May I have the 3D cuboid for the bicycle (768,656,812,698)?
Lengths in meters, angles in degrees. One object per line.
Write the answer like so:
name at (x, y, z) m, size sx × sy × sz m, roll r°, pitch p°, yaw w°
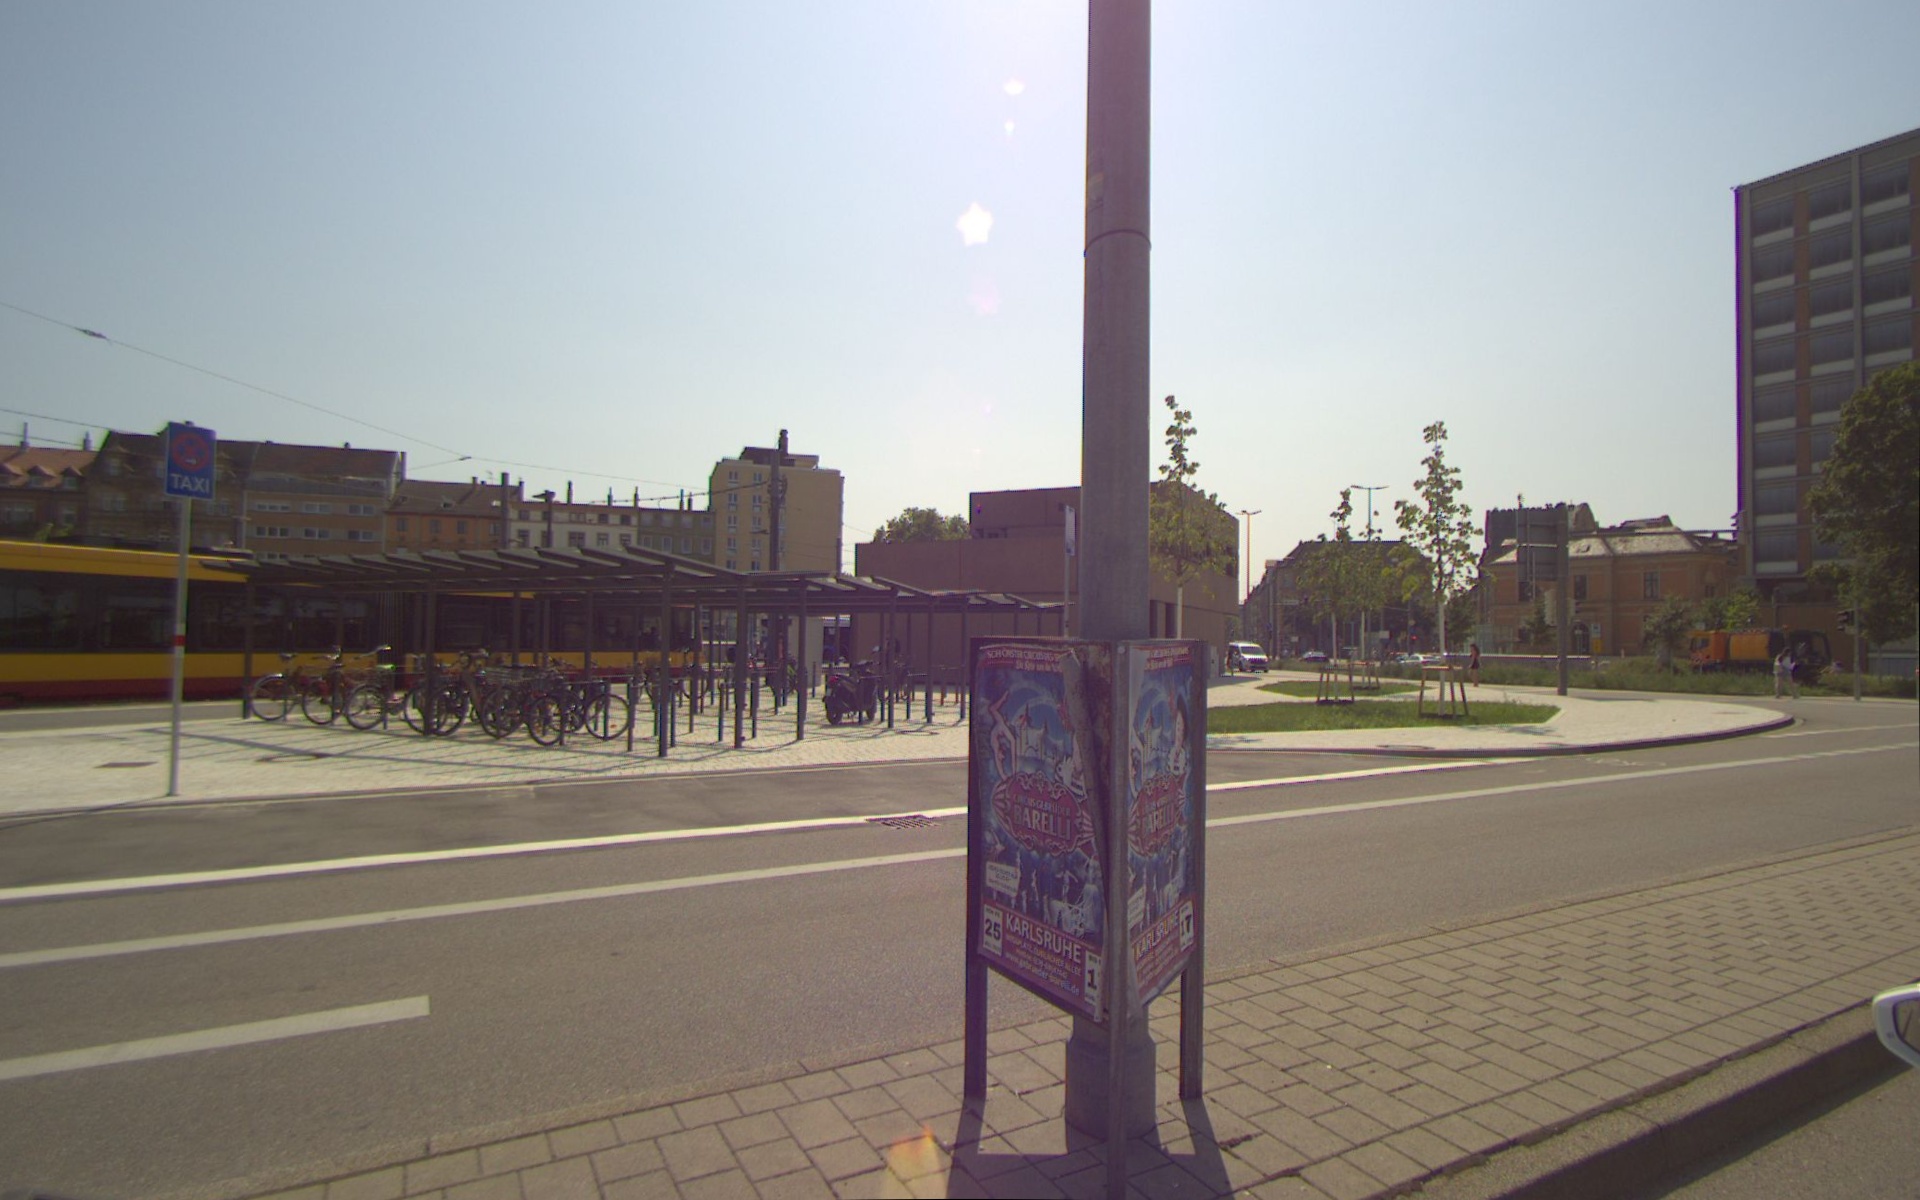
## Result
bicycle at (-4.481, 2.002, 26.517) m, size 0.503 × 1.053 × 1.736 m, roll 0°, pitch -3°, yaw 13°

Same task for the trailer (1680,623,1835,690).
trailer at (40.082, 2.808, 50.761) m, size 2.424 × 3.047 × 6.321 m, roll 3°, pitch -3°, yaw -5°

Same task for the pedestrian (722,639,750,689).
pedestrian at (-6.526, 1.868, 29.256) m, size 0.660 × 1.429 × 0.440 m, roll 2°, pitch -2°, yaw -31°

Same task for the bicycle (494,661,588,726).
bicycle at (-7.362, 1.621, 17.708) m, size 0.405 × 1.053 × 1.639 m, roll -1°, pitch -3°, yaw 28°

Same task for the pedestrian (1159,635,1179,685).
pedestrian at (7.175, 2.048, 34.490) m, size 0.558 × 1.700 × 0.536 m, roll 0°, pitch -2°, yaw 25°

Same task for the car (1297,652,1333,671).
car at (29.320, 5.093, 83.139) m, size 1.728 × 1.422 × 3.983 m, roll 2°, pitch -3°, yaw 3°

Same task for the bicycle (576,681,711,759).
bicycle at (-4.120, 1.549, 13.243) m, size 0.482 × 0.895 × 1.896 m, roll -1°, pitch -3°, yaw 28°

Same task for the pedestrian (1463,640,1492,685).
pedestrian at (20.116, 2.427, 39.040) m, size 0.617 × 1.725 × 0.786 m, roll 1°, pitch -2°, yaw -12°

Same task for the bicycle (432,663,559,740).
bicycle at (-6.945, 1.494, 15.106) m, size 0.517 × 1.053 × 1.768 m, roll -1°, pitch -3°, yaw 28°

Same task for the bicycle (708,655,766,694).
bicycle at (-6.000, 1.996, 27.093) m, size 0.503 × 0.998 × 1.856 m, roll -1°, pitch -3°, yaw 24°

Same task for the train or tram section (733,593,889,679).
train or tram section at (-6.660, 1.661, 46.511) m, size 3.086 × 3.616 × 8.238 m, roll -2°, pitch -2°, yaw 25°

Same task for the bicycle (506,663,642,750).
bicycle at (-5.297, 1.431, 13.894) m, size 0.517 × 1.096 × 1.863 m, roll -1°, pitch -3°, yaw 28°

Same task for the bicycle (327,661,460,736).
bicycle at (-8.621, 1.467, 15.364) m, size 0.517 × 1.053 × 1.768 m, roll -1°, pitch -3°, yaw 28°

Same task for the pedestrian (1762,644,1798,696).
pedestrian at (27.374, 2.345, 33.532) m, size 0.688 × 1.717 × 0.606 m, roll 1°, pitch -2°, yaw -12°

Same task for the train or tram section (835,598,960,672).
train or tram section at (-3.179, 1.890, 53.947) m, size 3.086 × 3.616 × 8.238 m, roll -2°, pitch -2°, yaw 25°

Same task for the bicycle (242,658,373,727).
bicycle at (-10.737, 1.496, 16.598) m, size 0.517 × 1.053 × 1.768 m, roll -1°, pitch -3°, yaw 28°

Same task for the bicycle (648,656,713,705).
bicycle at (-6.379, 1.823, 22.977) m, size 0.405 × 1.053 × 1.639 m, roll -1°, pitch -3°, yaw 28°

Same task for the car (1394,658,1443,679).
car at (35.298, 5.261, 77.379) m, size 1.729 × 1.474 × 4.427 m, roll 2°, pitch -3°, yaw 0°

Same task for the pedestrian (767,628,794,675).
pedestrian at (-5.640, 1.612, 31.555) m, size 0.436 × 1.429 × 0.744 m, roll -1°, pitch -2°, yaw 29°

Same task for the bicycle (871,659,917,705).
bicycle at (-1.594, 1.995, 24.657) m, size 0.503 × 1.053 × 1.735 m, roll -1°, pitch -3°, yaw 19°

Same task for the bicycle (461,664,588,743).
bicycle at (-6.351, 1.486, 14.748) m, size 0.517 × 1.053 × 1.768 m, roll -1°, pitch -3°, yaw 28°

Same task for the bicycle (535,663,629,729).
bicycle at (-6.420, 1.614, 17.150) m, size 0.405 × 1.053 × 1.639 m, roll -1°, pitch -3°, yaw 28°

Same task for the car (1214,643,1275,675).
car at (18.170, 3.737, 64.301) m, size 1.965 × 1.884 × 4.325 m, roll -1°, pitch -2°, yaw -12°

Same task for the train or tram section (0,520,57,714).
train or tram section at (-20.911, 0.250, 16.468) m, size 3.103 × 3.644 × 8.519 m, roll -2°, pitch -2°, yaw 26°

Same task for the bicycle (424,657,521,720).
bicycle at (-8.720, 1.561, 18.027) m, size 0.405 × 1.053 × 1.639 m, roll -1°, pitch -3°, yaw 28°

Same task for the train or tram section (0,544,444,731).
train or tram section at (-17.247, 0.907, 24.132) m, size 3.103 × 3.644 × 8.519 m, roll -2°, pitch -2°, yaw 26°

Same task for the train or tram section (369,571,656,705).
train or tram section at (-13.660, 1.192, 31.672) m, size 3.103 × 3.644 × 8.239 m, roll -2°, pitch -2°, yaw 26°

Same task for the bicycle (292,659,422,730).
bicycle at (-9.670, 1.496, 16.189) m, size 0.517 × 1.053 × 1.768 m, roll -1°, pitch -3°, yaw 28°

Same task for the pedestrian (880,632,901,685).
pedestrian at (-2.245, 1.886, 32.532) m, size 0.435 × 1.700 × 0.568 m, roll 0°, pitch -2°, yaw 25°

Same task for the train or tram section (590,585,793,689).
train or tram section at (-10.148, 1.440, 39.100) m, size 3.086 × 3.616 × 8.238 m, roll -2°, pitch -2°, yaw 25°

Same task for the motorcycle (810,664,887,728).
motorcycle at (-2.013, 1.727, 18.376) m, size 0.482 × 1.083 × 1.777 m, roll -1°, pitch -3°, yaw 28°
